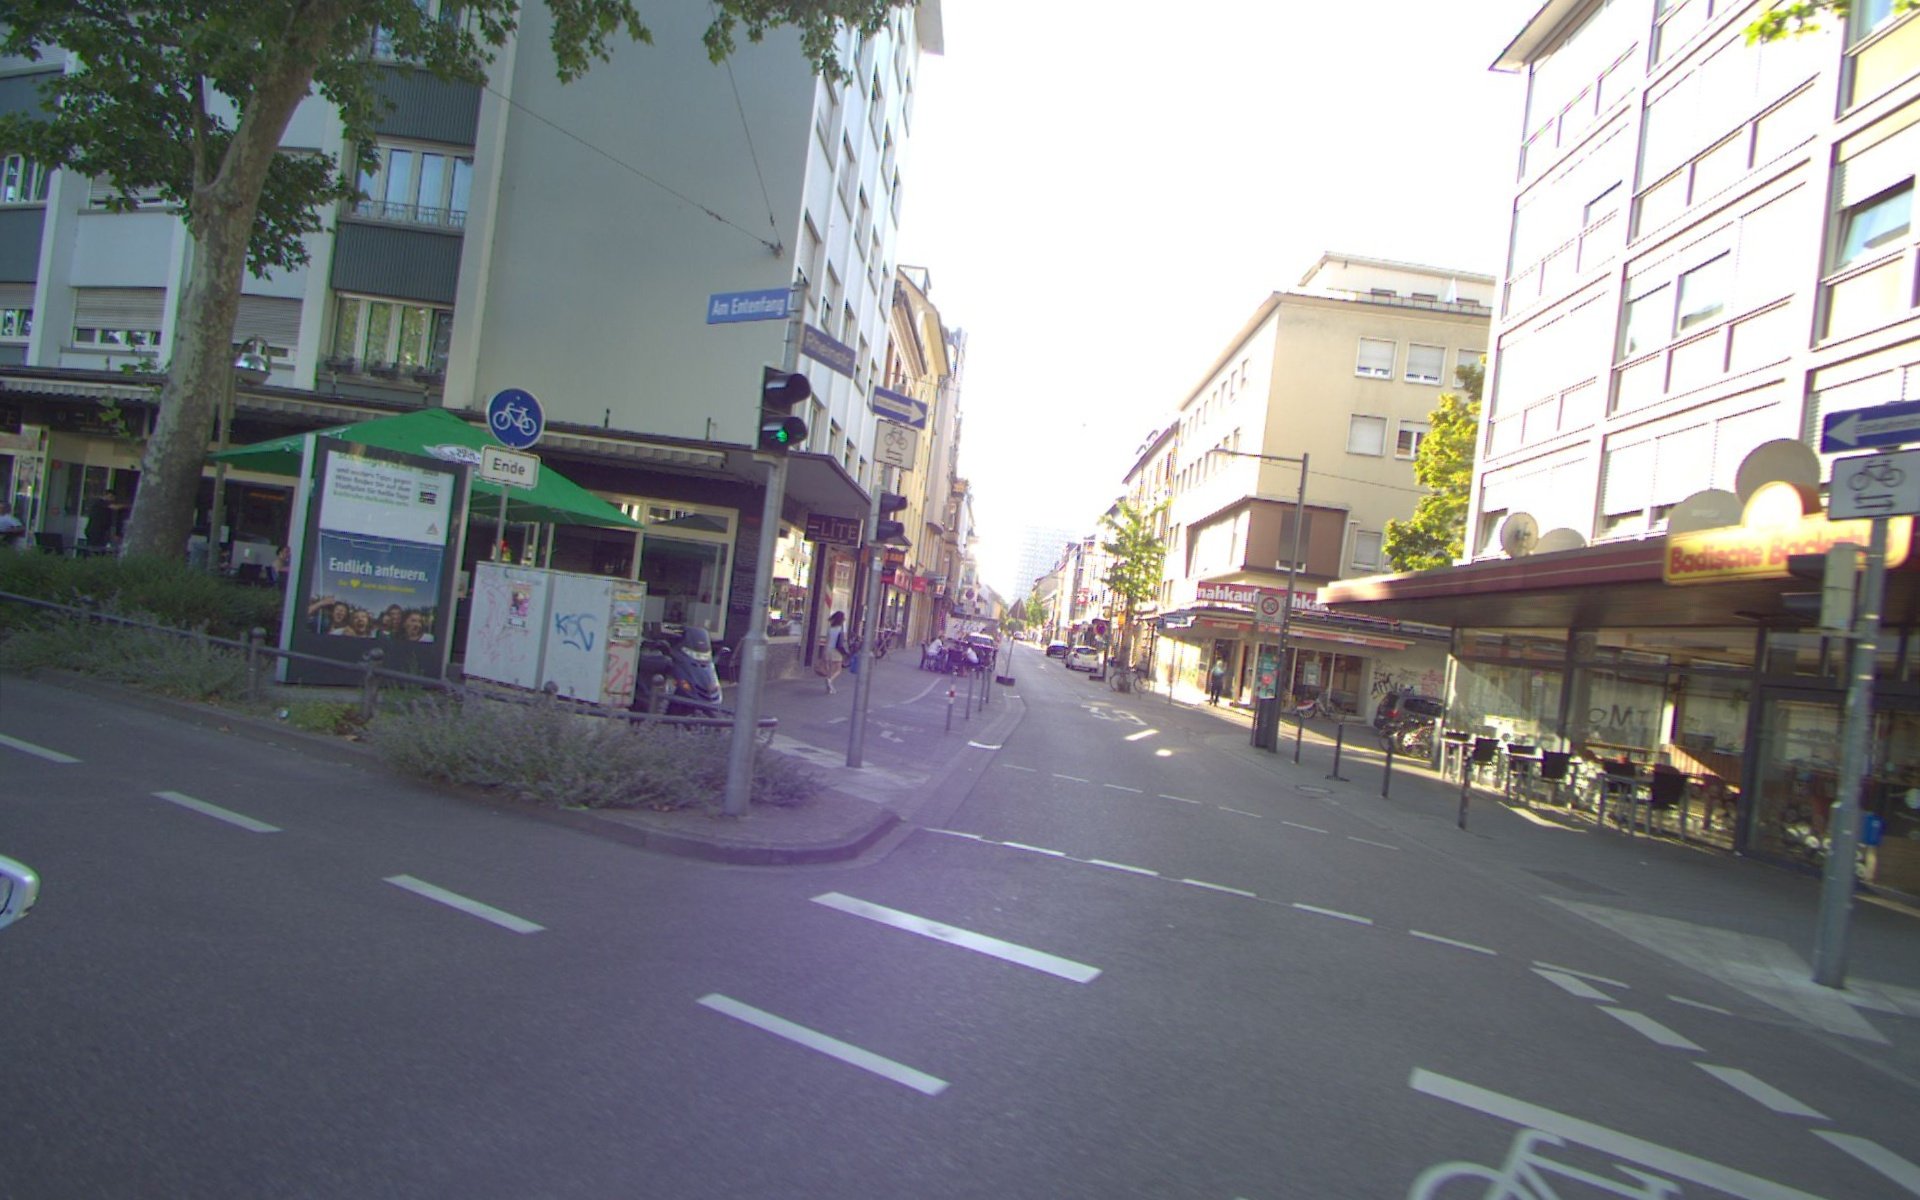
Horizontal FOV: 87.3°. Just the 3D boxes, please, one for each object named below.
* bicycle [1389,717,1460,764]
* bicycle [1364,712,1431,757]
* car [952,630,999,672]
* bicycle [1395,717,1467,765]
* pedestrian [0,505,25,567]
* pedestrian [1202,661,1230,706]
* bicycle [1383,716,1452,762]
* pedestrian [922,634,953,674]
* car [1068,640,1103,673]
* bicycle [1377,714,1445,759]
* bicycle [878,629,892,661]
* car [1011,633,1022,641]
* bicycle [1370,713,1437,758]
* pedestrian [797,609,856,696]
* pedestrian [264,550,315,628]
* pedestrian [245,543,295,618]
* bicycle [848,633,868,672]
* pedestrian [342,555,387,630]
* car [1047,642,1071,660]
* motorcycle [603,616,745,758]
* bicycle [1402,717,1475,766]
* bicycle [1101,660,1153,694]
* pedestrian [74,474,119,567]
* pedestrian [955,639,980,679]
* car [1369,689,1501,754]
[{"bbox_3d":[12.167,3.676,26.353,1.577,0.993,0.357,8,-1,2],"label":"bicycle"},{"bbox_3d":[12.170,3.745,27.999,1.577,0.993,0.357,8,-1,2],"label":"bicycle"},{"bbox_3d":[0.753,2.283,45.776,1.808,1.513,4.001,9,-1,3],"label":"car"},{"bbox_3d":[12.145,3.640,25.931,1.577,0.993,0.357,8,-1,2],"label":"bicycle"},{"bbox_3d":[-19.781,-1.365,20.135,0.909,1.211,1.182,7,-1,20],"label":"pedestrian"},{"bbox_3d":[9.693,3.160,38.125,0.654,1.593,0.695,9,-2,2],"label":"pedestrian"},{"bbox_3d":[12.169,3.696,26.776,1.577,0.993,0.357,8,-1,2],"label":"bicycle"},{"bbox_3d":[-0.777,1.874,34.812,0.721,1.257,0.551,7,-2,37],"label":"pedestrian"},{"bbox_3d":[7.606,3.472,61.191,1.808,1.680,4.006,9,-3,6],"label":"car"},{"bbox_3d":[12.176,3.685,27.179,1.577,0.993,0.357,8,-1,2],"label":"bicycle"},{"bbox_3d":[-2.817,1.686,38.016,0.289,1.054,1.717,5,1,1],"label":"bicycle"},{"bbox_3d":[10.492,6.875,187.115,1.807,1.323,4.003,7,-1,5],"label":"car"},{"bbox_3d":[12.166,3.725,27.606,1.577,0.993,0.357,8,-1,2],"label":"bicycle"},{"bbox_3d":[-2.586,1.015,19.519,0.712,1.566,0.597,10,-2,-42],"label":"pedestrian"},{"bbox_3d":[-11.328,-0.173,17.000,0.392,1.252,0.452,7,0,2],"label":"pedestrian"},{"bbox_3d":[-12.134,-0.330,17.705,0.443,1.252,0.400,7,0,3],"label":"pedestrian"},{"bbox_3d":[-2.940,1.505,29.108,0.289,1.053,1.719,5,-2,1],"label":"bicycle"},{"bbox_3d":[-10.518,-0.139,17.775,0.444,1.252,0.399,7,0,32],"label":"pedestrian"},{"bbox_3d":[8.329,4.319,84.816,1.808,1.238,4.006,9,-3,6],"label":"car"},{"bbox_3d":[-2.832,0.833,9.888,0.569,1.171,1.442,10,-3,-45],"label":"motorcycle"},{"bbox_3d":[12.144,3.591,25.533,1.577,0.993,0.357,8,-1,2],"label":"bicycle"},{"bbox_3d":[6.817,3.138,41.105,1.876,1.137,0.510,8,0,0],"label":"bicycle"},{"bbox_3d":[-16.741,-1.539,19.504,0.304,1.737,0.358,8,-1,27],"label":"pedestrian"},{"bbox_3d":[0.265,2.033,34.728,0.682,1.257,0.598,9,-2,-1],"label":"pedestrian"},{"bbox_3d":[16.480,4.212,35.027,3.661,1.607,1.660,8,-1,5],"label":"car"}]
